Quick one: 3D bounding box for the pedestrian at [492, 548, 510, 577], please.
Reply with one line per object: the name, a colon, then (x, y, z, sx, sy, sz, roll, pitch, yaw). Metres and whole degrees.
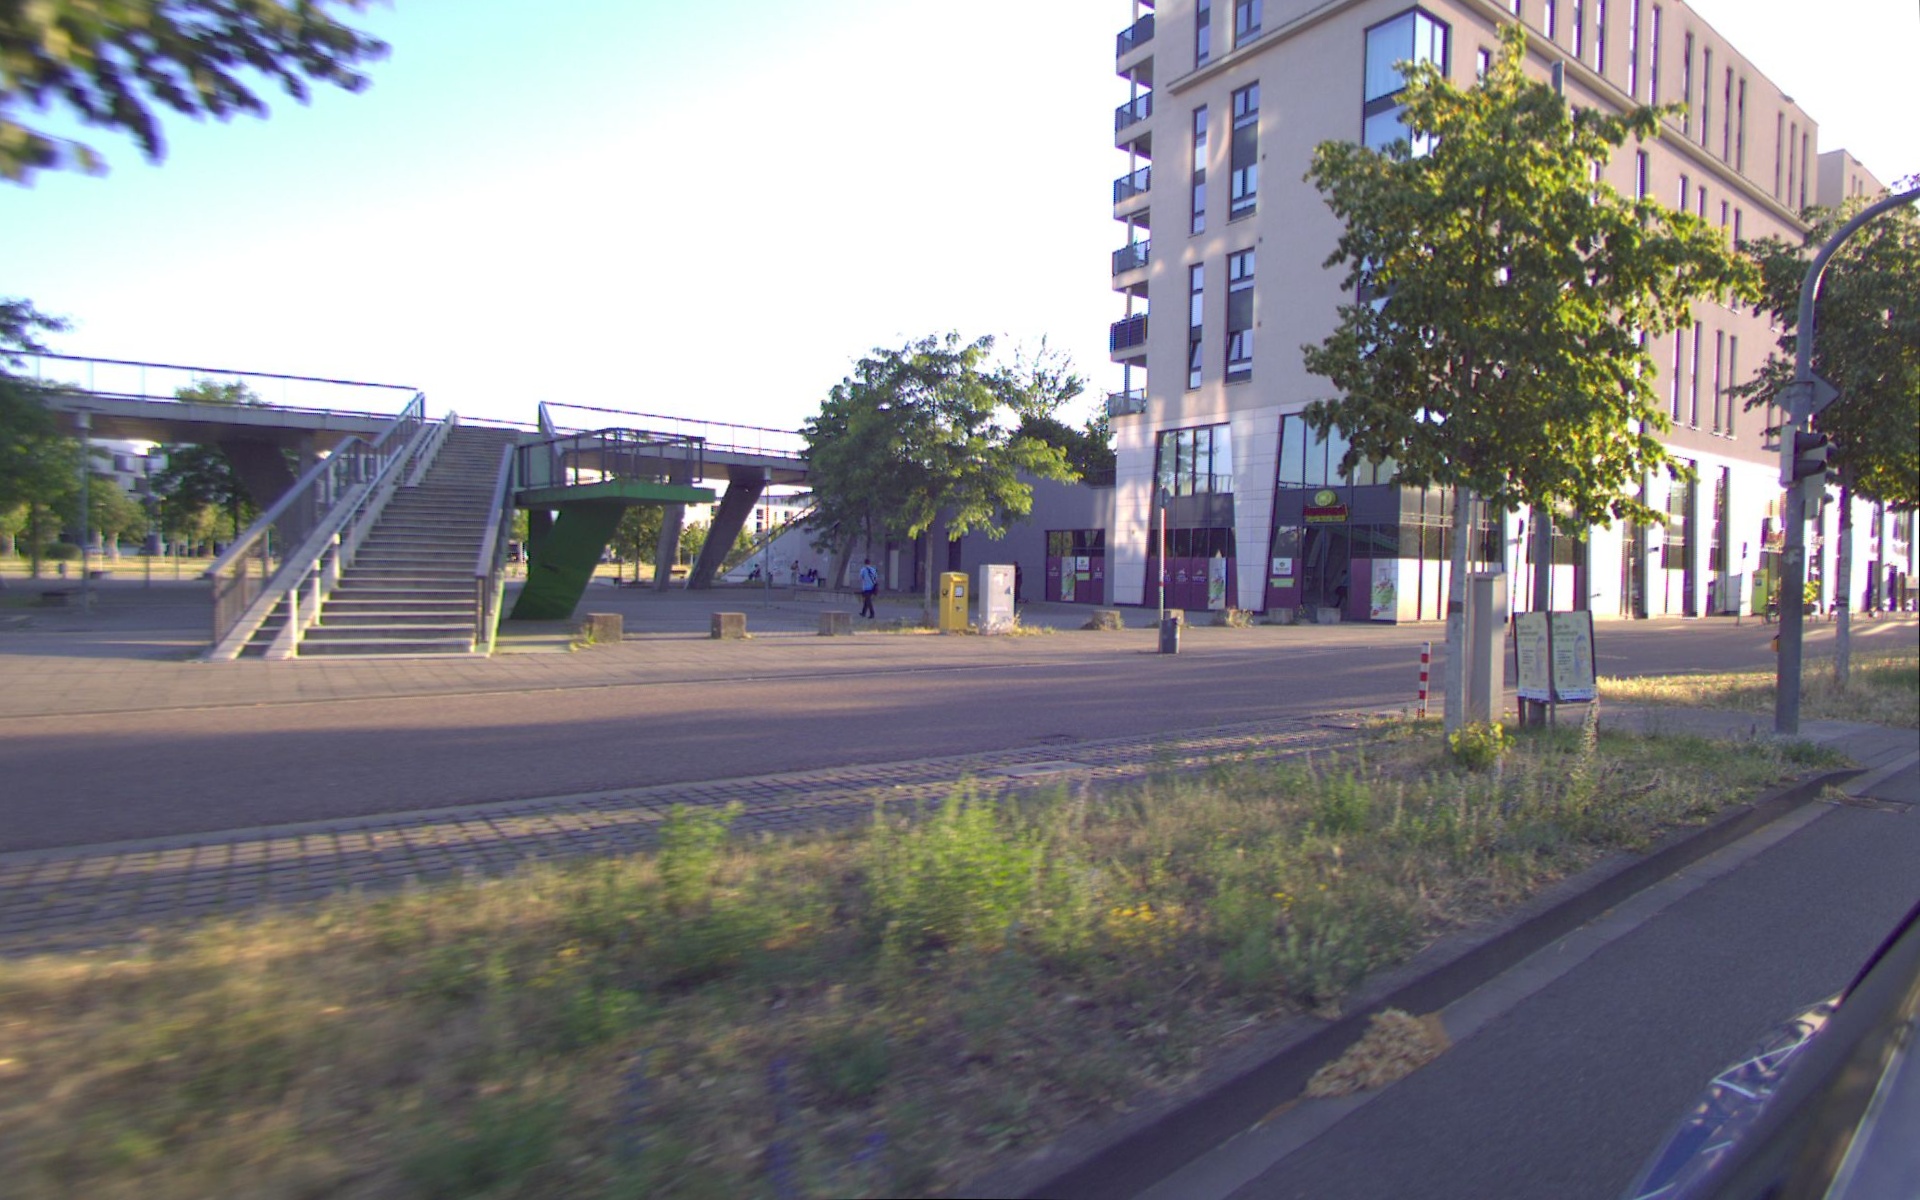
pedestrian: (-32.271, -2.636, 71.204, 0.996, 2.038, 1.144, 0, 2, -33)

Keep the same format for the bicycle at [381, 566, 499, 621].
bicycle: (-12.130, -0.153, 23.697, 2.398, 1.251, 0.734, 0, 2, -25)

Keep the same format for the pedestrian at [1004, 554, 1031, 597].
pedestrian: (2.358, -1.003, 41.427, 0.750, 1.703, 0.768, 0, 2, -34)

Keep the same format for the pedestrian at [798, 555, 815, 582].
pedestrian: (-9.426, -1.921, 62.097, 0.782, 1.614, 0.718, 0, 2, -30)

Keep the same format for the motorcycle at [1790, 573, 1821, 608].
motorcycle: (42.681, -0.474, 51.057, 2.084, 1.720, 0.691, 0, 2, -36)

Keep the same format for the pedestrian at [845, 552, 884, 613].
pedestrian: (-2.977, -0.562, 31.643, 0.824, 1.866, 0.897, 0, 2, -42)

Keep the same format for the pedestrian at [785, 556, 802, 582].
pedestrian: (-10.426, -1.933, 63.246, 0.711, 1.614, 0.790, 2, 2, 29)
